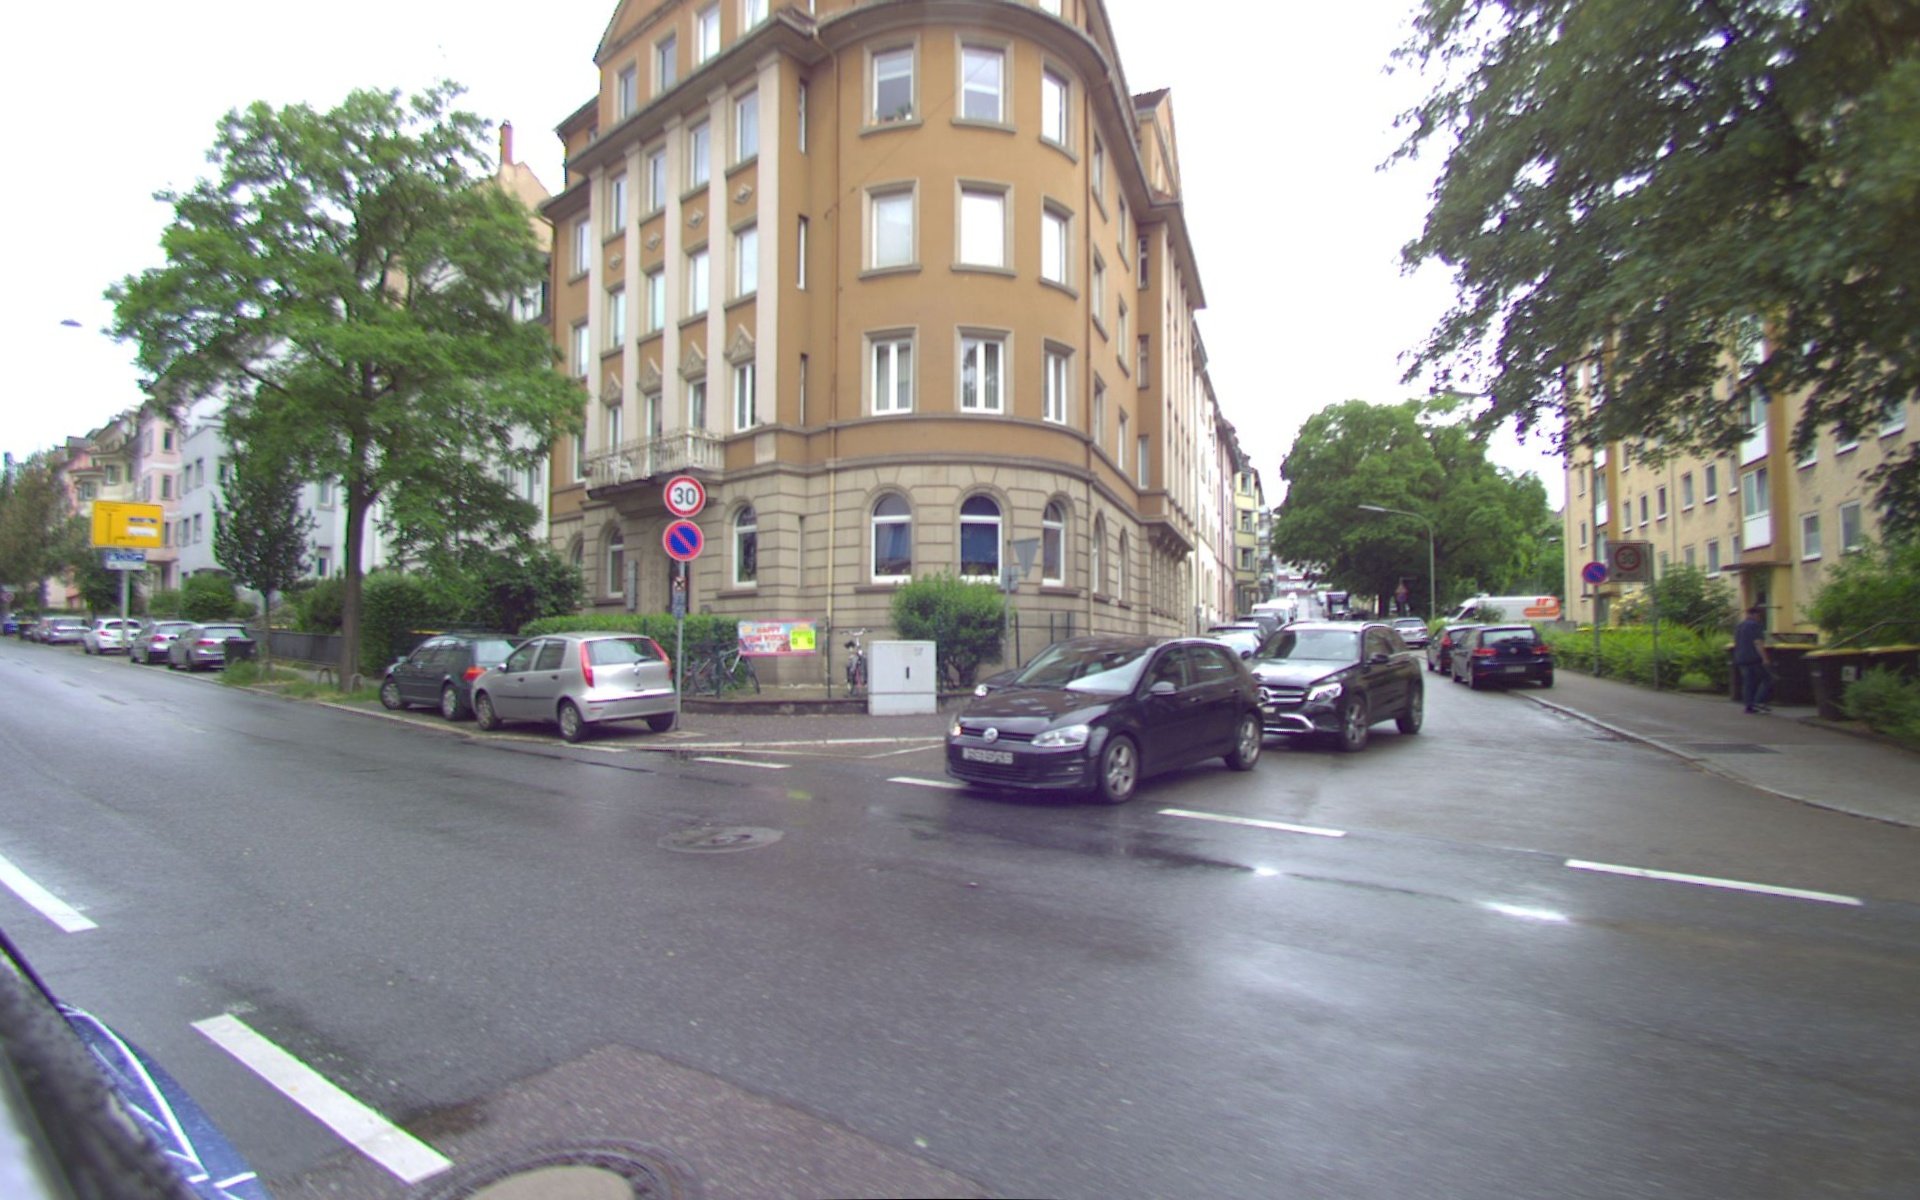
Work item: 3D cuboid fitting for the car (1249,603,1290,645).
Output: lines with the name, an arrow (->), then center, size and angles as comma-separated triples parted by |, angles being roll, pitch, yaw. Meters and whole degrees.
car -> 16.719, 1.249, 54.519 | 1.984, 2.029, 3.975 | 0, 1, 19

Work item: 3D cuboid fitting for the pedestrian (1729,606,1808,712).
pedestrian -> 13.391, 0.970, 16.778 | 0.813, 1.695, 0.623 | -3, 0, 23

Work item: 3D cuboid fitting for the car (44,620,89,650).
car -> -46.738, 1.790, 52.919 | 1.582, 1.462, 3.890 | 0, -1, -44

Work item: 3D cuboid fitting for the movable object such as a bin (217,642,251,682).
movable object such as a bin -> -19.834, 1.687, 27.643 | 0.600, 1.066, 0.623 | 0, -2, 42

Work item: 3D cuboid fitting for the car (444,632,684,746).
car -> -5.927, 1.222, 14.976 | 3.835, 1.465, 1.616 | -2, -2, 39

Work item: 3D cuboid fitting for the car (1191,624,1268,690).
car -> 6.679, 1.329, 24.852 | 1.696, 1.451, 3.816 | 0, -1, 17

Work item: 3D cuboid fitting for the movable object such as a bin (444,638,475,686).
movable object such as a bin -> -12.184, 1.506, 24.653 | 0.657, 1.139, 0.435 | -1, -3, 41

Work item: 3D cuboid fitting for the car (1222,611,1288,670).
car -> 10.039, 1.296, 34.246 | 1.836, 1.741, 3.972 | 0, 1, 21

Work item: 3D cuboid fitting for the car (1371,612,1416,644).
car -> 22.974, 1.451, 53.784 | 1.788, 1.519, 3.590 | 0, 1, 17

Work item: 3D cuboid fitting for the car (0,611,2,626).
car -> -121.742, 2.248, 125.648 | 1.866, 1.861, 3.879 | 0, -2, 40

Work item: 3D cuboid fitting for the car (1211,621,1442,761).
car -> 5.094, 1.124, 13.803 | 1.693, 1.594, 3.769 | 0, -1, 41

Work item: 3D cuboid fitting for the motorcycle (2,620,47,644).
motorcycle -> -54.563, 1.859, 59.029 | 1.783, 1.325, 0.743 | 1, -2, -6

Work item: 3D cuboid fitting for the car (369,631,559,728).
car -> -8.975, 1.341, 18.186 | 3.940, 1.465, 1.637 | -1, 0, 41

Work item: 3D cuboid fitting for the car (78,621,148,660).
car -> -35.199, 1.639, 42.041 | 3.794, 1.519, 1.629 | -1, -2, 41

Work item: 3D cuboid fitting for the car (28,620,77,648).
car -> -50.322, 1.858, 56.097 | 3.886, 1.407, 1.584 | 1, -1, 42

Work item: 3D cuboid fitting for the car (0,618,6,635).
car -> -86.420, 2.337, 90.195 | 4.137, 1.428, 1.663 | 0, -3, 43

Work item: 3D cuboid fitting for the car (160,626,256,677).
car -> -23.241, 1.546, 31.232 | 3.936, 1.401, 1.664 | 0, -1, 43

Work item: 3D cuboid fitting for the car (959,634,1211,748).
car -> 1.936, 1.249, 14.913 | 1.743, 1.400, 3.772 | 1, -1, 44

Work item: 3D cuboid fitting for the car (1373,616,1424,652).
car -> 20.514, 1.557, 47.432 | 1.788, 1.519, 3.589 | 0, 1, 17

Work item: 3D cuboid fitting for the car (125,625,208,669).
car -> -27.550, 1.590, 35.114 | 3.909, 1.401, 1.664 | -1, -1, 43

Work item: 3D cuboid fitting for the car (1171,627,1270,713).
car -> 5.166, 1.264, 19.766 | 1.696, 1.431, 4.209 | 0, -1, 17

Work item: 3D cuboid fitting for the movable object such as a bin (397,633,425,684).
movable object such as a bin -> -14.538, 1.547, 26.806 | 0.650, 1.309, 0.435 | -1, -3, 41

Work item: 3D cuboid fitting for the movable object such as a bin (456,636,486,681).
movable object such as a bin -> -11.679, 1.398, 24.164 | 0.650, 1.048, 0.421 | -1, -3, 41

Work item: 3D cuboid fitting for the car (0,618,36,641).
car -> -65.806, 2.039, 70.496 | 4.602, 1.396, 1.661 | 1, -2, 42

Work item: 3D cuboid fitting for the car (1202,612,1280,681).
car -> 8.313, 1.281, 29.715 | 1.836, 1.741, 3.972 | 0, 1, 21

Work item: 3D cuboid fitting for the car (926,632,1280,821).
car -> 1.583, 1.082, 10.134 | 1.742, 1.400, 3.776 | 1, 0, 41

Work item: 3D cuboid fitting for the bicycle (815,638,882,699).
bicycle -> -1.937, 1.193, 17.834 | 0.797, 1.019, 1.700 | 0, -3, 8

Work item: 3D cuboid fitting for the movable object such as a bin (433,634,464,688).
movable object such as a bin -> -12.731, 1.509, 25.192 | 0.609, 1.318, 0.435 | -1, -3, 41

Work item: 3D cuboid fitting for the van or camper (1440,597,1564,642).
van or camper -> 33.142, 1.150, 62.060 | 6.292, 2.653, 2.282 | 0, 1, 12

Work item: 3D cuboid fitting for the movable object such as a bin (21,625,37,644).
movable object such as a bin -> -55.369, 2.053, 60.191 | 0.480, 1.066, 0.522 | 0, 1, 21

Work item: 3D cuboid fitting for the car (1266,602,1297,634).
car -> 22.209, 1.191, 69.841 | 1.984, 2.029, 3.975 | 0, 1, 19

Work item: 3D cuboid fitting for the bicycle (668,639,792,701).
bicycle -> -4.207, 1.254, 18.699 | 0.804, 1.054, 2.323 | -1, -2, 33

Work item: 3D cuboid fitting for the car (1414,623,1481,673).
car -> 14.384, 1.387, 29.966 | 1.486, 1.230, 3.341 | -2, 1, 22

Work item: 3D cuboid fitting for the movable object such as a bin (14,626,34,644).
movable object such as a bin -> -56.268, 2.100, 60.843 | 0.483, 1.066, 0.816 | 0, 1, 43

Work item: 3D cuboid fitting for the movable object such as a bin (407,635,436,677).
movable object such as a bin -> -13.912, 1.436, 26.160 | 0.650, 1.047, 0.435 | -1, -3, 41

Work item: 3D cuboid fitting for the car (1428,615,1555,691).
car -> 12.775, 1.232, 24.547 | 1.670, 1.519, 3.598 | -3, 1, 11

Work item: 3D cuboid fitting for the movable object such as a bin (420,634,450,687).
movable object such as a bin -> -13.253, 1.523, 25.568 | 0.650, 1.318, 0.435 | -1, -3, 41
